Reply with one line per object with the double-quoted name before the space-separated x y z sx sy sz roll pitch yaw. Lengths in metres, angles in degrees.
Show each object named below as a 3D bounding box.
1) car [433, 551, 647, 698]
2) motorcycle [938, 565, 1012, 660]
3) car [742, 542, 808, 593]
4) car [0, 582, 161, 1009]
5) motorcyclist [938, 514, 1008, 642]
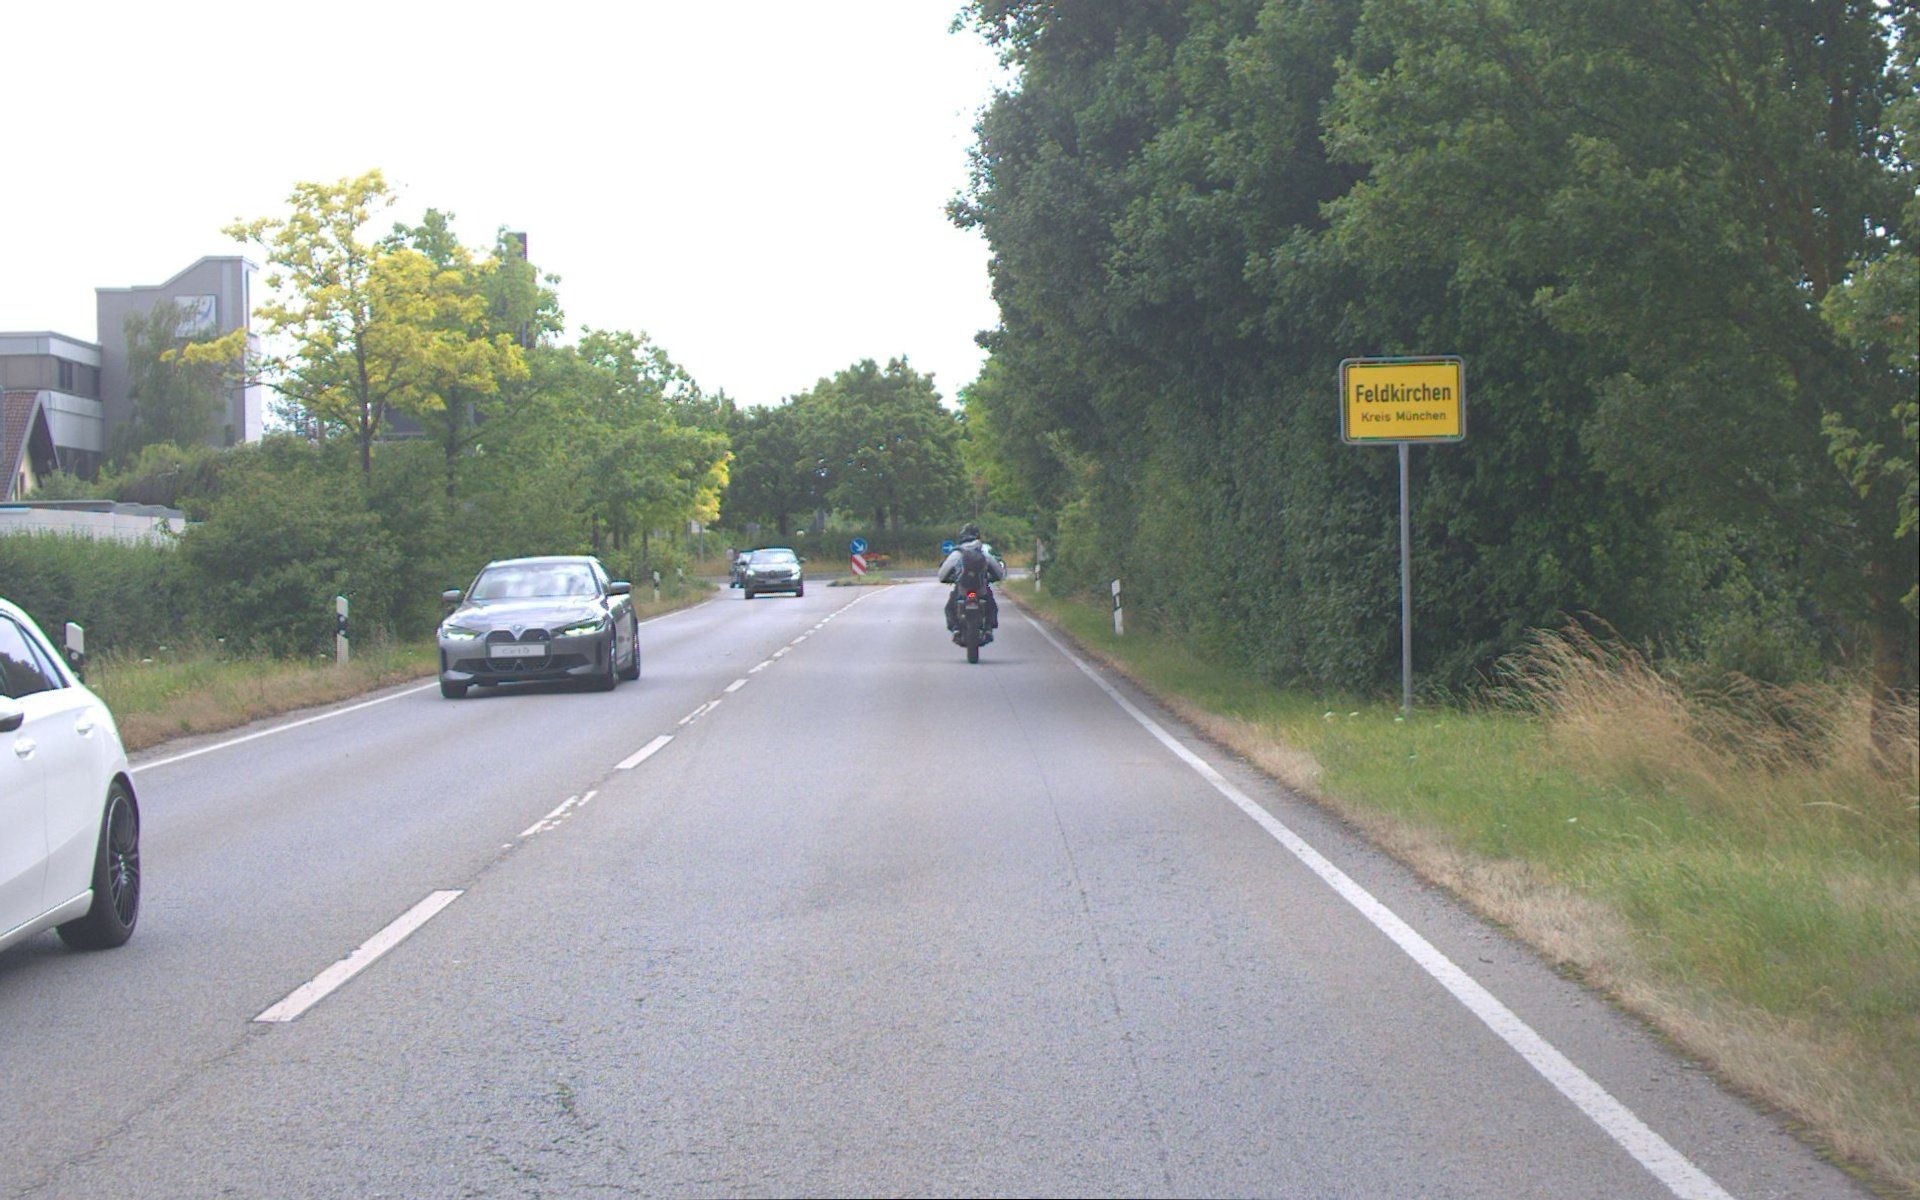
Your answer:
"car" -4.568 0.224 37.953 1.852 1.459 4.371 -2 1 -1
"motorcycle" 0.180 0.138 44.293 0.896 1.154 2.620 -1 1 -1
"car" -5.733 -1.016 106.910 1.815 1.489 4.204 -2 1 -1
"car" -4.050 0.685 11.525 1.773 1.368 4.100 -3 1 -1
"motorcyclist" 0.162 -0.291 44.345 0.861 1.618 1.191 -1 1 -1
